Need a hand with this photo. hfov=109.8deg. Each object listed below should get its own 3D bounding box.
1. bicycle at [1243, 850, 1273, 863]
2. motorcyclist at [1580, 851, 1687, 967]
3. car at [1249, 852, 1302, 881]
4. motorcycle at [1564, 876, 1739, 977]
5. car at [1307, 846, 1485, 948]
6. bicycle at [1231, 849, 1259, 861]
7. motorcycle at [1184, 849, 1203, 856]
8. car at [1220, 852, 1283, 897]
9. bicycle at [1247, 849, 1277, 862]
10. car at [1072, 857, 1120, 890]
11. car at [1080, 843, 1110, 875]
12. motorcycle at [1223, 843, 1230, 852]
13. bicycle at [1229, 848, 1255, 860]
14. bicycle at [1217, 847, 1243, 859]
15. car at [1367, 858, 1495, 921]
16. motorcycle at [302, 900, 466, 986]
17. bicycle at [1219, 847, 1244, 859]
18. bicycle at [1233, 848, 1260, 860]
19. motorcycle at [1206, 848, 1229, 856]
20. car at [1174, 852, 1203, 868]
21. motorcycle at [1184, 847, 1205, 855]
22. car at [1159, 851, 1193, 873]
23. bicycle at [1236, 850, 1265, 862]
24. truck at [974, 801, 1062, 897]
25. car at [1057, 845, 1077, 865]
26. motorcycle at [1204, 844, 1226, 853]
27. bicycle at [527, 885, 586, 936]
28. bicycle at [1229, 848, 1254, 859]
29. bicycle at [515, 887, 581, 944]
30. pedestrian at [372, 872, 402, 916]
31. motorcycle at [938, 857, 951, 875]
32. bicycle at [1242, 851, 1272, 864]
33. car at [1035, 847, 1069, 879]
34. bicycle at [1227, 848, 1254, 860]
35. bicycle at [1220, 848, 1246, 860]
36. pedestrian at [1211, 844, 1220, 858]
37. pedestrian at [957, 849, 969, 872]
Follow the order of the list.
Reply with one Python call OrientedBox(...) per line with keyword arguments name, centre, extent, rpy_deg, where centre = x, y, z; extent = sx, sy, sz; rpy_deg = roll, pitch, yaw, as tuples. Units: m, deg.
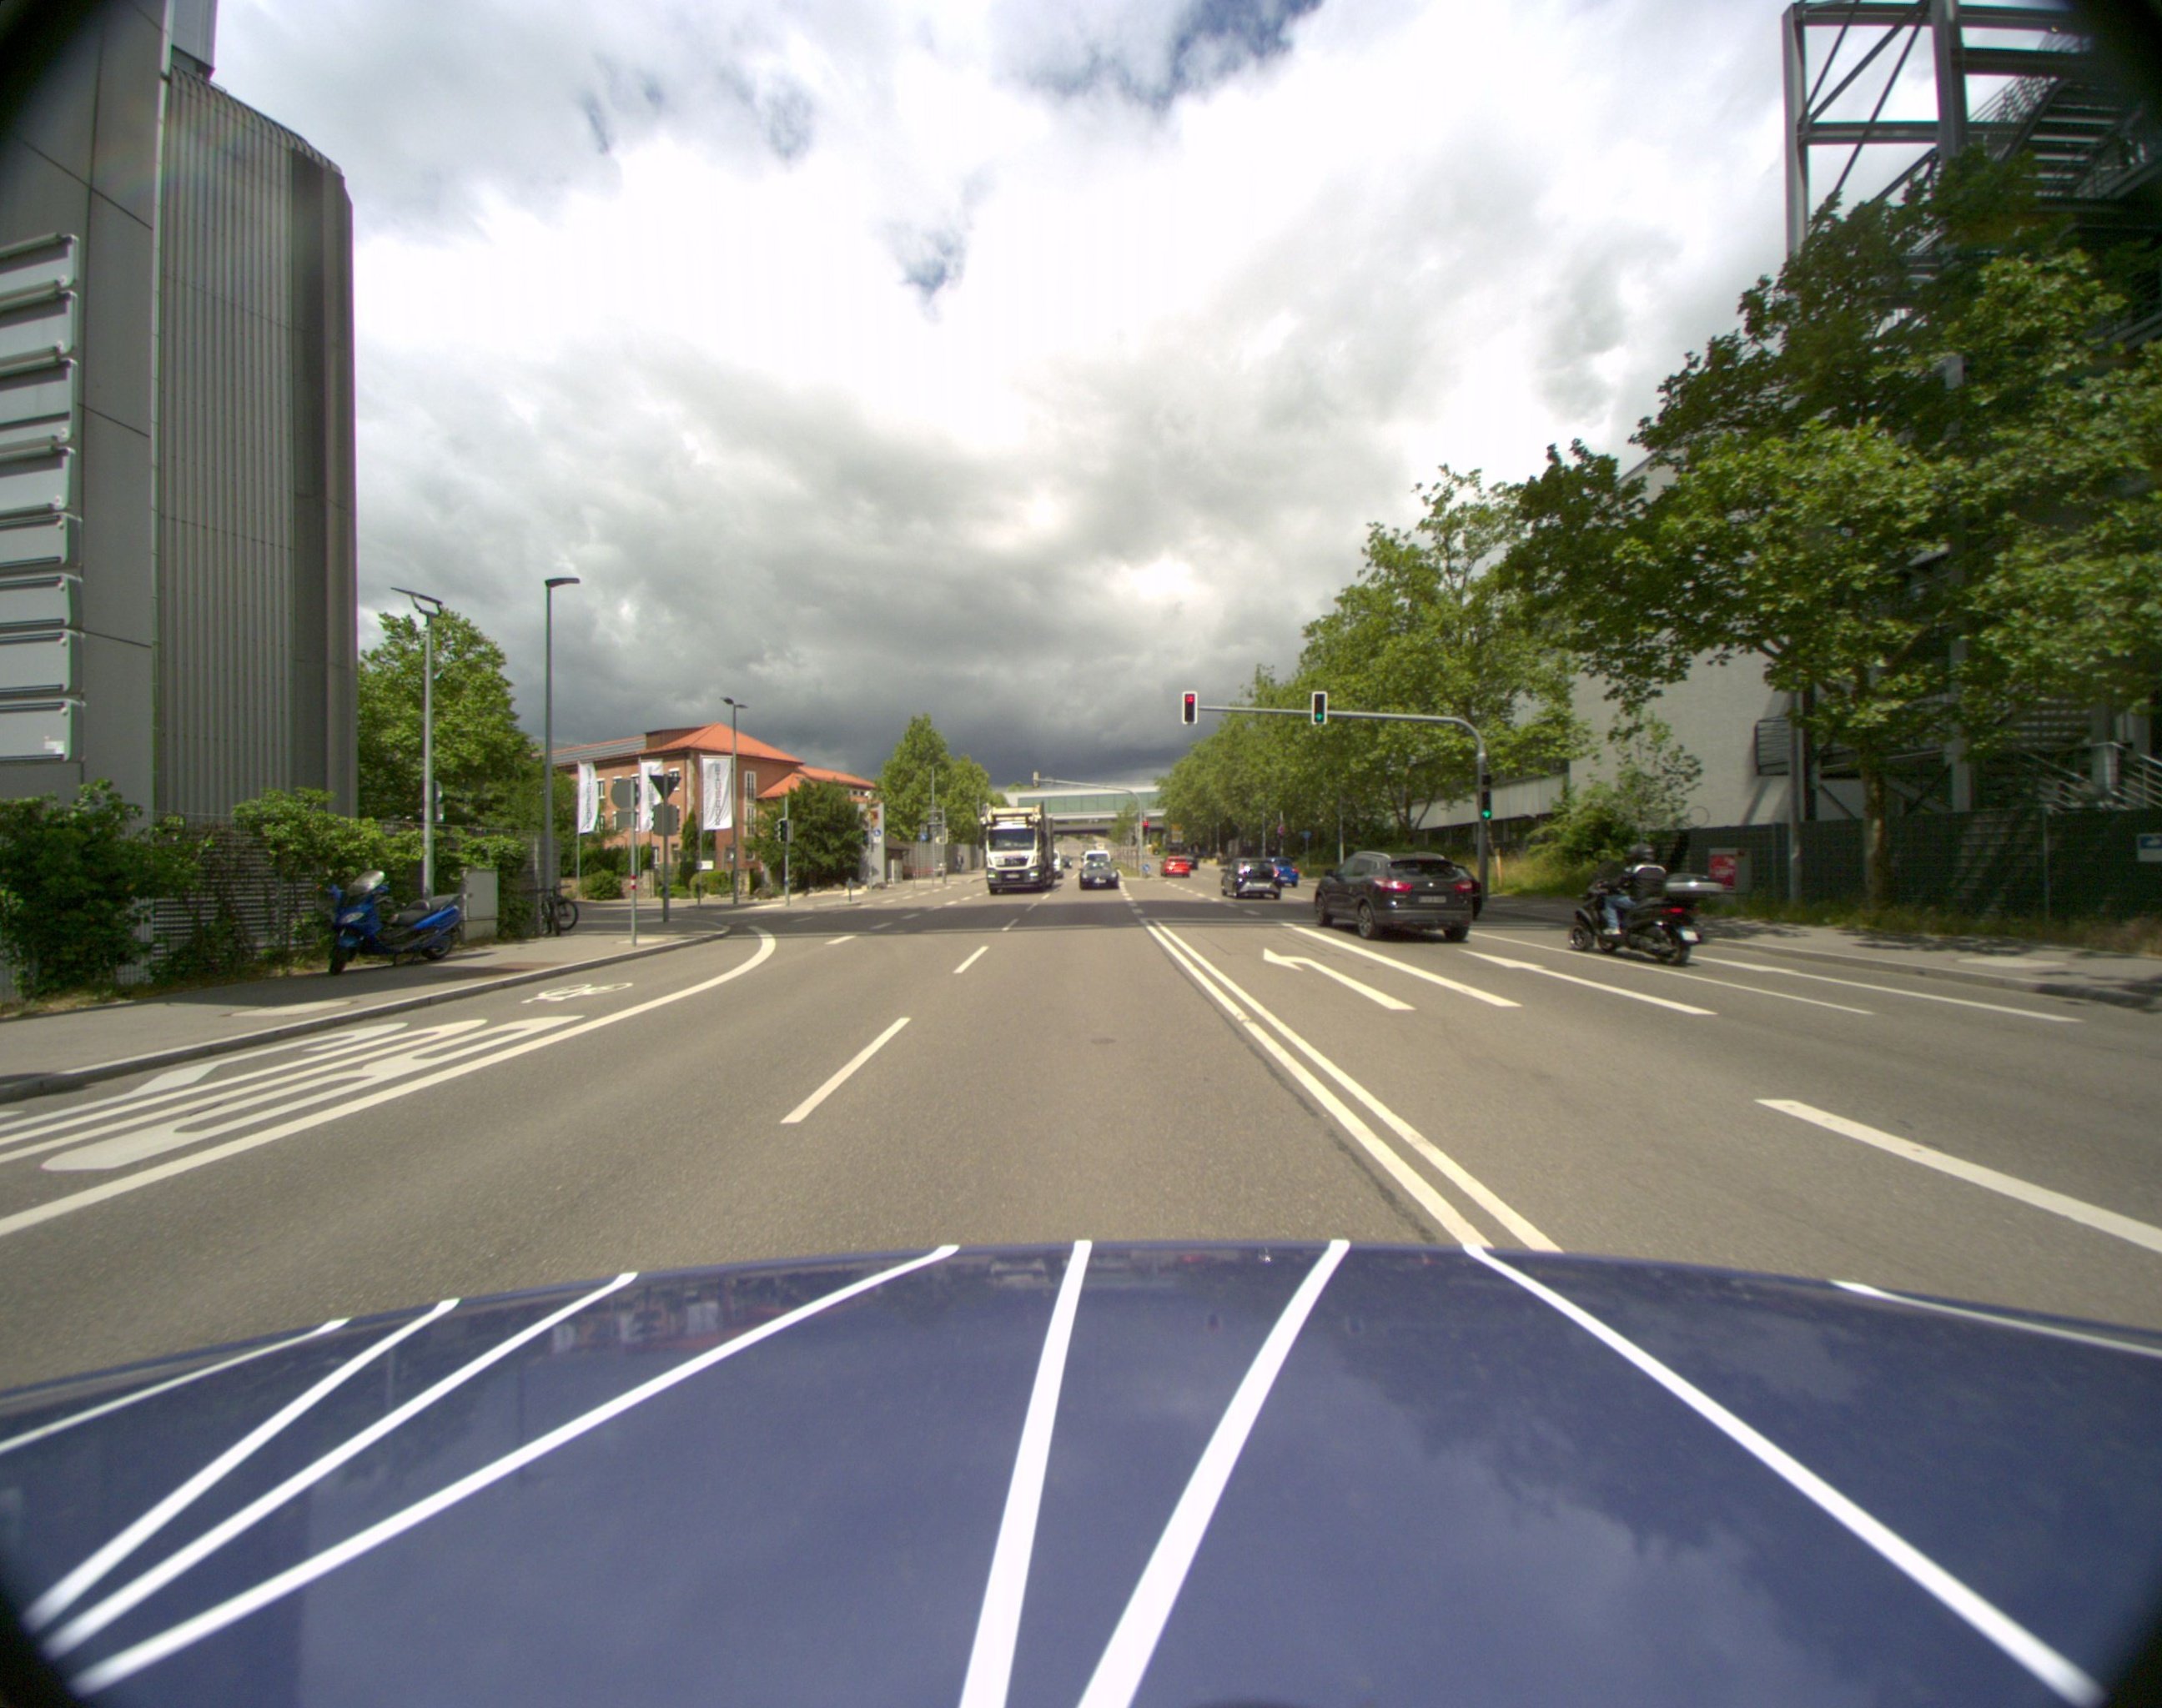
OrientedBox(name="bicycle", centre=(16.179, 0.256, 69.412), extent=(2.560, 1.079, 0.616), rpy_deg=(-2, 1, 9))
OrientedBox(name="motorcyclist", centre=(8.177, 0.775, 11.296), extent=(0.735, 1.613, 1.095), rpy_deg=(-2, 1, -2))
OrientedBox(name="car", centre=(9.787, 0.607, 38.454), extent=(1.697, 1.421, 3.822), rpy_deg=(0, 0, 0))
OrientedBox(name="motorcycle", centre=(8.160, 0.978, 11.049), extent=(0.676, 1.212, 2.375), rpy_deg=(0, 1, -3))
OrientedBox(name="car", centre=(5.901, 0.698, 14.841), extent=(1.740, 1.674, 4.213), rpy_deg=(-2, 1, 1))
OrientedBox(name="bicycle", centre=(16.032, 0.077, 74.266), extent=(2.561, 1.079, 0.628), rpy_deg=(-2, 1, 4))
OrientedBox(name="motorcycle", centre=(17.076, -0.220, 115.142), extent=(2.830, 1.029, 0.600), rpy_deg=(-2, -2, 4))
OrientedBox(name="car", centre=(6.155, 0.710, 27.839), extent=(1.561, 1.496, 3.613), rpy_deg=(1, 0, 1))
OrientedBox(name="bicycle", centre=(16.008, 0.121, 67.250), extent=(2.561, 1.079, 0.616), rpy_deg=(-2, 1, 7))
OrientedBox(name="car", centre=(0.743, 0.862, 34.354), extent=(1.838, 1.317, 4.002), rpy_deg=(-3, -1, 5))
OrientedBox(name="car", centre=(0.985, 0.380, 51.668), extent=(1.824, 2.001, 4.393), rpy_deg=(-1, -1, 4))
OrientedBox(name="motorcycle", centre=(20.329, -0.917, 106.205), extent=(0.599, 1.029, 2.591), rpy_deg=(-2, -2, 4))
OrientedBox(name="bicycle", centre=(16.343, 0.003, 77.069), extent=(2.413, 1.079, 0.615), rpy_deg=(-2, 1, 0))
OrientedBox(name="bicycle", centre=(15.913, -0.069, 81.071), extent=(2.562, 1.171, 0.615), rpy_deg=(-2, 1, 2))
OrientedBox(name="car", centre=(9.108, 0.862, 20.123), extent=(1.580, 1.420, 3.919), rpy_deg=(1, 0, 1))
OrientedBox(name="motorcycle", centre=(-10.524, 1.301, 11.591), extent=(0.592, 1.061, 2.037), rpy_deg=(1, 0, 1))
OrientedBox(name="bicycle", centre=(15.880, -0.072, 80.208), extent=(2.562, 1.171, 0.615), rpy_deg=(-2, 1, 2))
OrientedBox(name="bicycle", centre=(16.306, 0.033, 75.064), extent=(2.559, 1.079, 0.616), rpy_deg=(-2, 1, 14))
OrientedBox(name="motorcycle", centre=(18.057, -0.270, 100.431), extent=(2.830, 1.029, 0.600), rpy_deg=(-2, -2, 4))
OrientedBox(name="car", centre=(10.065, 0.558, 71.649), extent=(1.999, 1.446, 4.768), rpy_deg=(1, 1, 0))
OrientedBox(name="motorcycle", centre=(16.061, -0.435, 107.193), extent=(2.830, 1.029, 0.600), rpy_deg=(-2, -2, 4))
OrientedBox(name="car", centre=(6.469, 0.514, 52.077), extent=(1.889, 1.446, 3.902), rpy_deg=(1, 1, 0))
OrientedBox(name="bicycle", centre=(15.912, 0.198, 71.514), extent=(2.564, 1.079, 0.615), rpy_deg=(-2, 1, -7))
OrientedBox(name="truck", centre=(-2.738, -0.275, 36.652), extent=(2.712, 3.863, 10.741), rpy_deg=(-2, 1, 2))
OrientedBox(name="car", centre=(-1.509, 0.103, 82.501), extent=(1.871, 1.944, 4.711), rpy_deg=(-3, 1, 2))
OrientedBox(name="motorcycle", centre=(18.066, -0.762, 102.451), extent=(2.830, 1.029, 0.600), rpy_deg=(-2, -2, 4))
OrientedBox(name="bicycle", centre=(-12.429, 1.317, 17.973), extent=(1.881, 1.121, 0.547), rpy_deg=(-1, -1, 36))
OrientedBox(name="bicycle", centre=(16.501, -0.046, 78.189), extent=(2.411, 1.079, 0.616), rpy_deg=(-2, 1, 11))
OrientedBox(name="bicycle", centre=(-11.474, 1.296, 16.334), extent=(1.964, 1.121, 0.547), rpy_deg=(-1, -1, 36))
OrientedBox(name="pedestrian", centre=(-28.594, 1.653, 31.296), extent=(0.743, 1.770, 0.638), rpy_deg=(-2, 1, 29))
OrientedBox(name="motorcycle", centre=(-10.029, 0.877, 55.900), extent=(0.570, 1.219, 2.175), rpy_deg=(0, 1, 1))
OrientedBox(name="bicycle", centre=(15.844, 0.276, 68.477), extent=(2.561, 1.079, 0.616), rpy_deg=(-2, 1, 7))
OrientedBox(name="car", centre=(-1.937, 0.577, 52.275), extent=(1.871, 1.944, 4.711), rpy_deg=(-3, 1, 2))
OrientedBox(name="bicycle", centre=(16.018, 0.022, 76.156), extent=(2.561, 1.079, 0.616), rpy_deg=(-2, 1, 7))
OrientedBox(name="bicycle", centre=(15.908, -0.029, 79.296), extent=(2.562, 1.171, 0.615), rpy_deg=(-2, 1, 2))
OrientedBox(name="pedestrian", centre=(14.797, -0.301, 83.769), extent=(0.846, 1.524, 0.749), rpy_deg=(-2, 1, 1))
OrientedBox(name="pedestrian", centre=(-9.422, 0.526, 60.628), extent=(0.729, 1.756, 1.015), rpy_deg=(-2, 1, 1))
